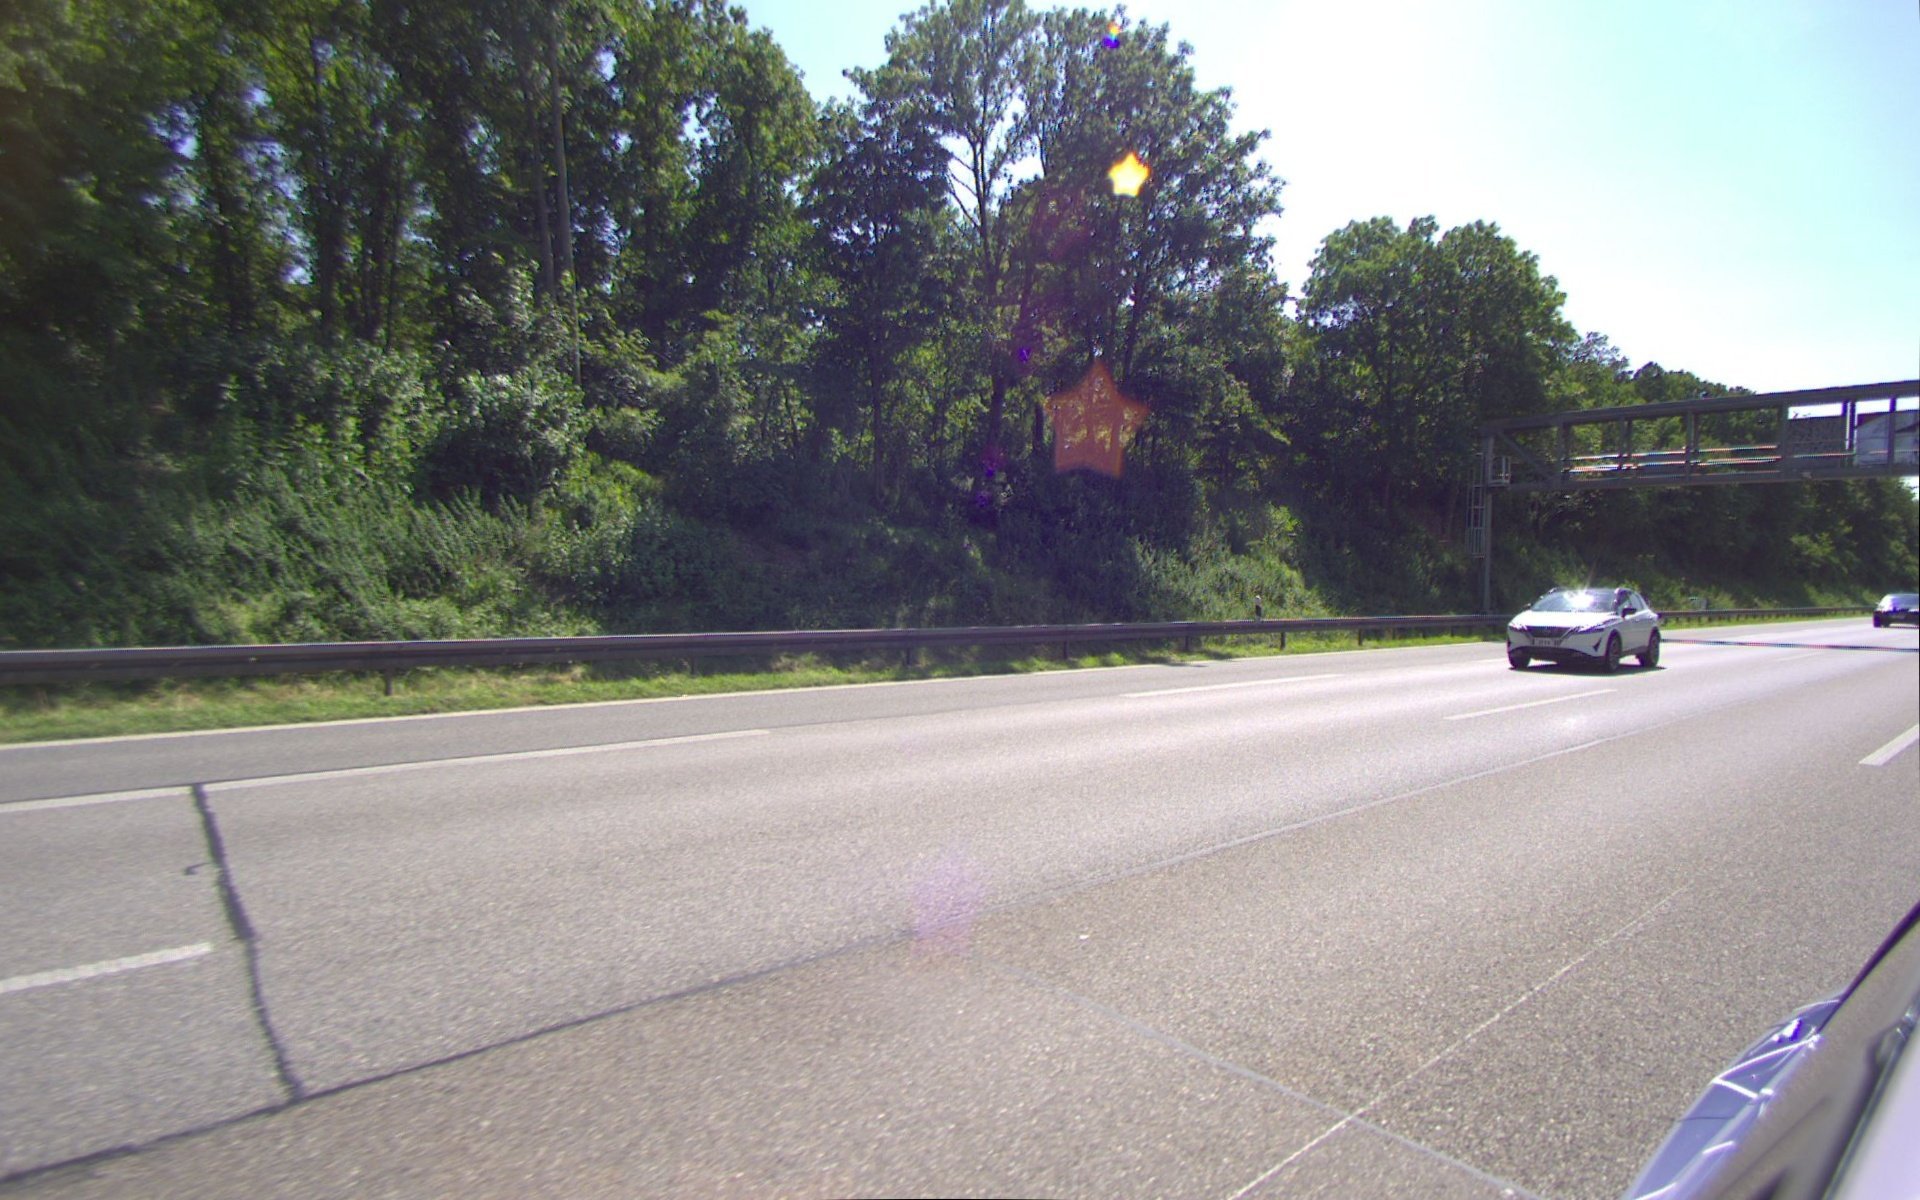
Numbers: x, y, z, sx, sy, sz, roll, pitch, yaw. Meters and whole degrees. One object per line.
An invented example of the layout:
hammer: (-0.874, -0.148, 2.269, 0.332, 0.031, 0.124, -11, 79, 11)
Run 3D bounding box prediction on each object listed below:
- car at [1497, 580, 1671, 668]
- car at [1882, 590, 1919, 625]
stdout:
car: (12.536, 0.423, 20.257, 3.964, 1.588, 1.847, 0, 0, -40)
car: (47.721, 0.365, 50.477, 4.602, 1.690, 1.924, 0, 0, -39)
